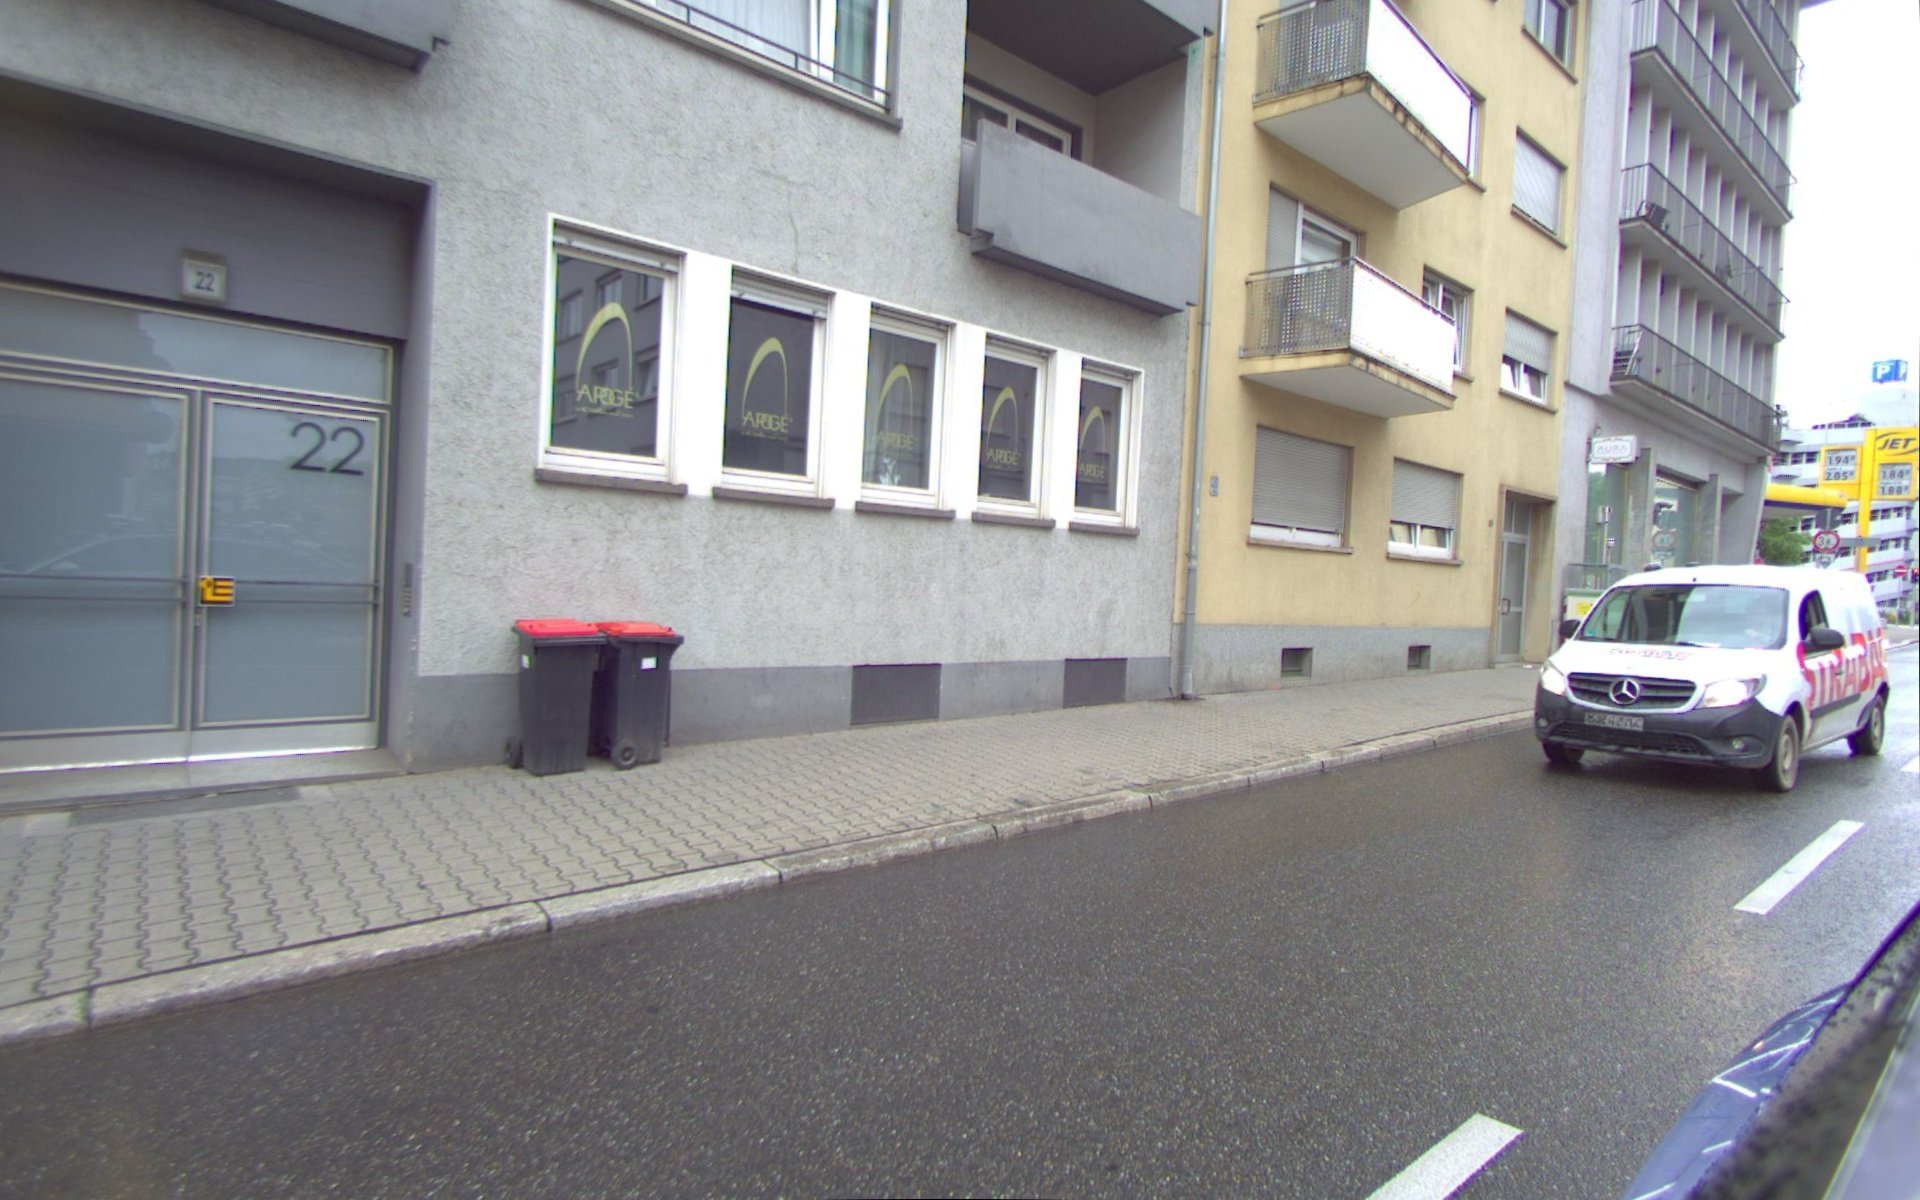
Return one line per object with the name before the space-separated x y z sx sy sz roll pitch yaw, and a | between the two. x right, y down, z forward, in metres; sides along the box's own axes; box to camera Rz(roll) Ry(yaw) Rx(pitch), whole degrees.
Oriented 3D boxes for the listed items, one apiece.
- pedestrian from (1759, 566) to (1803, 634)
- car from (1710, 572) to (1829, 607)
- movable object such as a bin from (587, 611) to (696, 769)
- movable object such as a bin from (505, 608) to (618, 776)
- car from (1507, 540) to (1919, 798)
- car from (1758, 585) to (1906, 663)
pedestrian | 21.942 -0.004 27.052 0.872 1.777 0.679 0 2 -39
car | 35.341 -0.446 44.316 1.736 1.492 4.004 0 0 -5
movable object such as a bin | -2.158 0.580 6.849 0.506 0.961 0.541 0 5 -40
movable object such as a bin | -2.571 0.564 6.521 0.506 0.967 0.541 0 5 -40
car | 7.050 0.456 9.265 4.660 1.797 1.945 0 1 -39
car | 19.047 0.464 22.049 4.093 1.453 1.803 0 4 -41
